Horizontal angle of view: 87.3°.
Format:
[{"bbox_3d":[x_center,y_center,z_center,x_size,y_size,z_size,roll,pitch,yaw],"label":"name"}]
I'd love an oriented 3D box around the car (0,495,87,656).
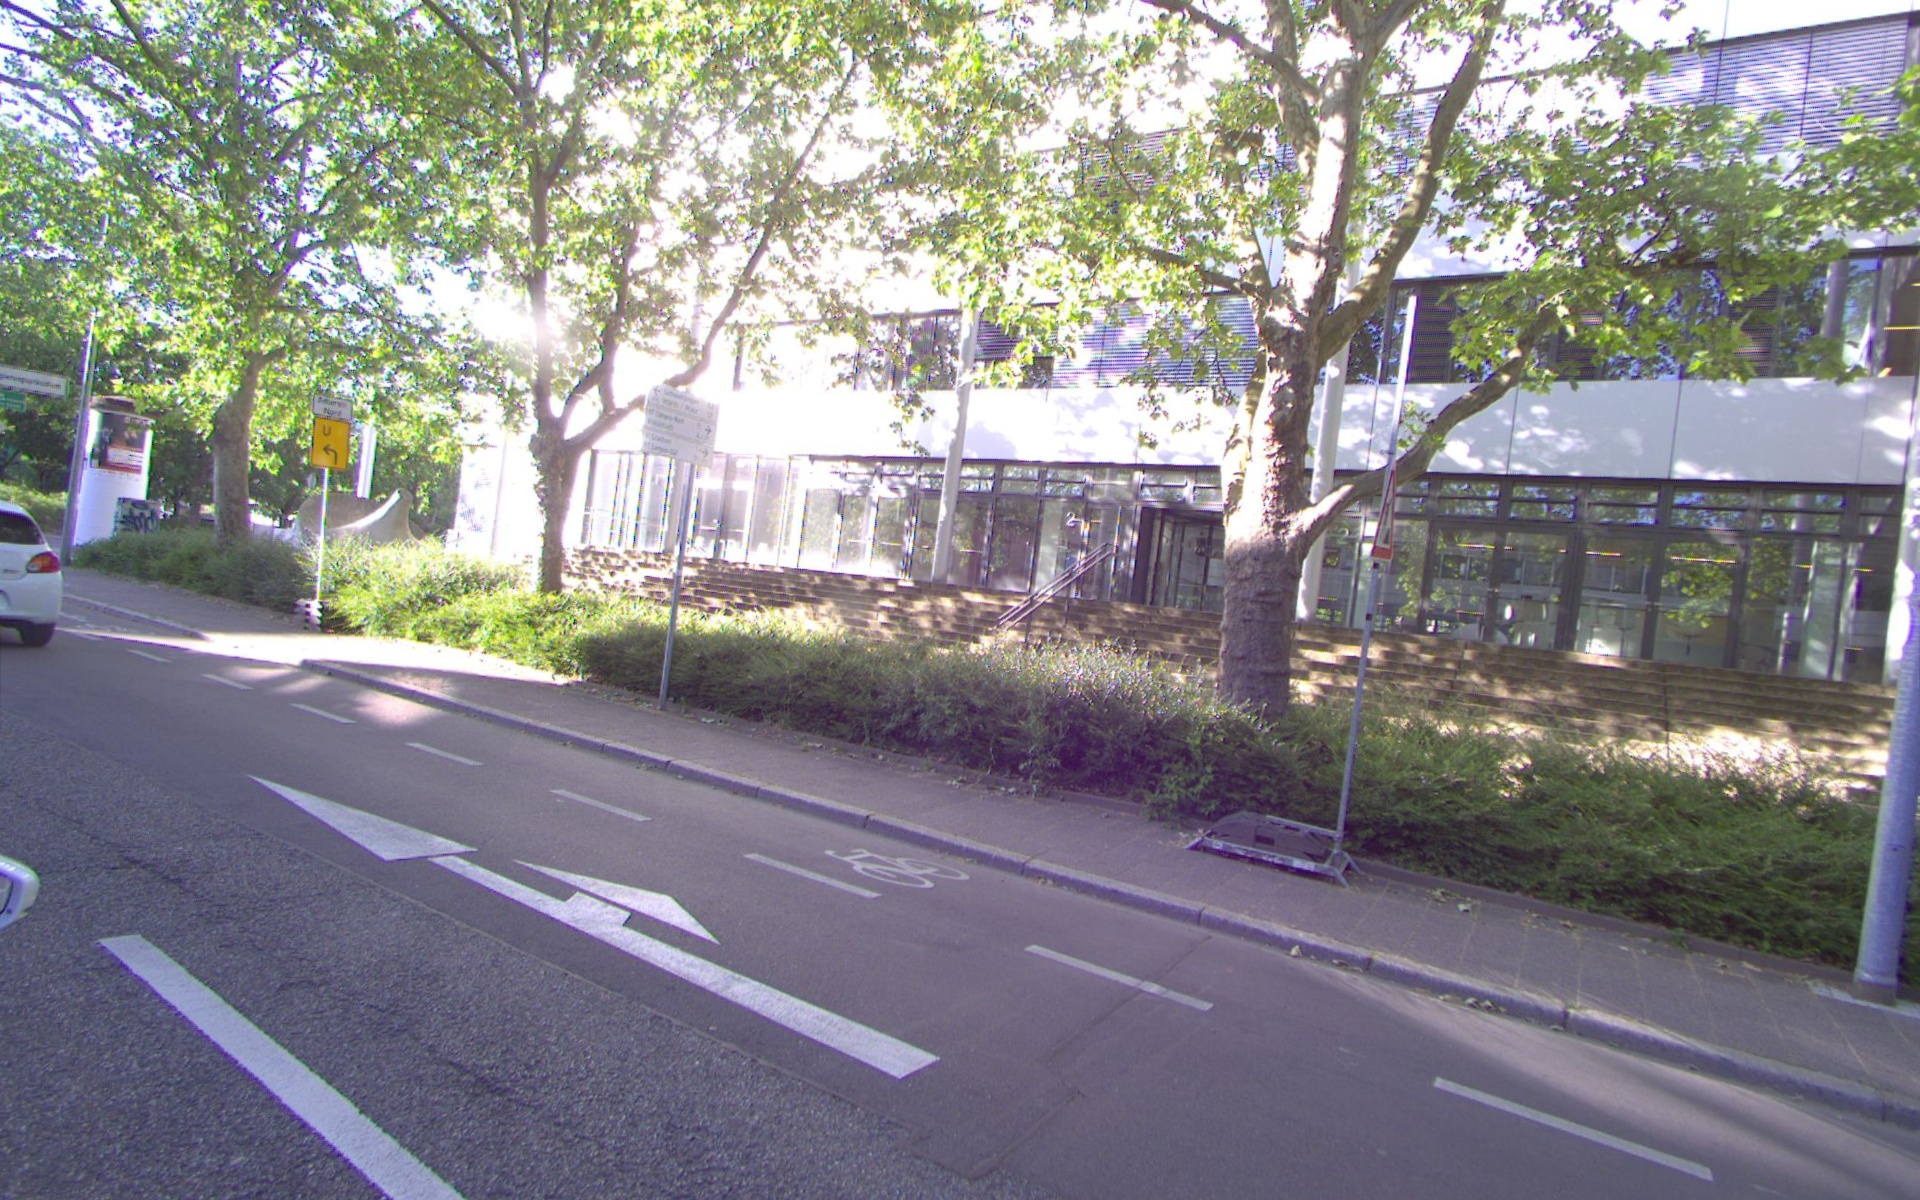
[{"bbox_3d":[-10.969,-0.448,10.524,3.625,1.515,1.682,6,-3,32],"label":"car"}]
